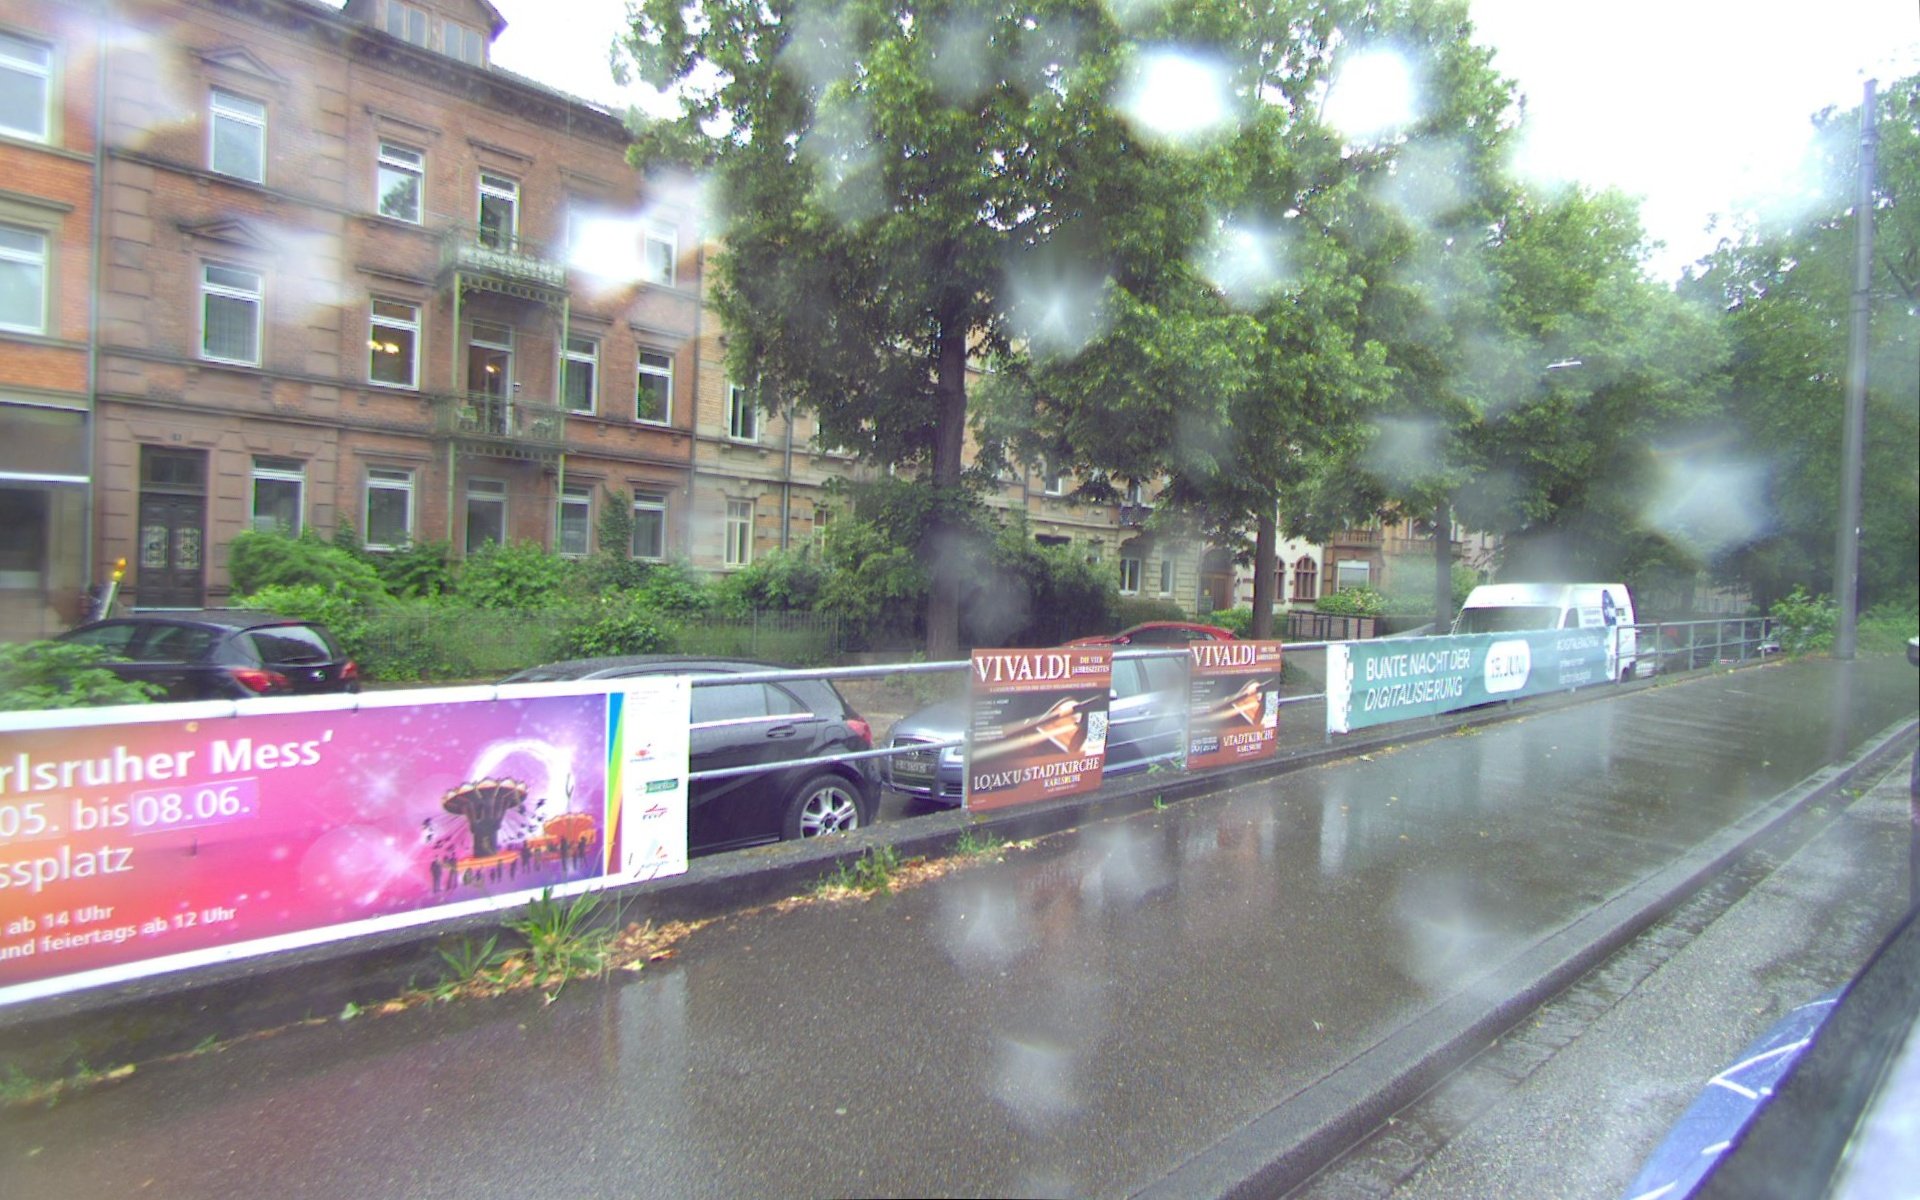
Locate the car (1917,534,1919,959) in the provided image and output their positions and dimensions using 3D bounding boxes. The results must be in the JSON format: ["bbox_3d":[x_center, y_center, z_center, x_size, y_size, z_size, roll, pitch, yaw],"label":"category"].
[{"bbox_3d":[5.745,0.586,4.488,3.612,1.687,1.755,0,1,-39],"label":"car"}]

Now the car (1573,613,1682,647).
[{"bbox_3d":[32.061,1.418,48.730,3.942,1.482,1.904,1,1,15],"label":"car"}]

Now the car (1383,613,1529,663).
[{"bbox_3d":[16.500,1.228,33.890,4.214,1.397,1.679,2,2,22],"label":"car"}]

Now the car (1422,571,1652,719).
[{"bbox_3d":[11.354,0.730,19.665,6.055,2.451,2.211,0,0,-43],"label":"car"}]

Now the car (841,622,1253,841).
[{"bbox_3d":[0.986,1.053,9.775,4.006,1.559,1.734,0,0,-43],"label":"car"}]

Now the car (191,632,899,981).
[{"bbox_3d":[-2.453,0.996,6.520,3.903,1.417,1.706,0,1,-41],"label":"car"}]

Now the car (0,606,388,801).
[{"bbox_3d":[-8.558,0.975,11.143,3.955,1.735,1.984,1,1,24],"label":"car"}]

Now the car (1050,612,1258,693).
[{"bbox_3d":[4.380,1.116,22.730,4.372,1.471,1.888,2,1,18],"label":"car"}]

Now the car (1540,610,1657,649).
[{"bbox_3d":[28.489,1.301,45.293,3.942,1.585,1.991,0,1,15],"label":"car"}]

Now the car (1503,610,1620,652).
[{"bbox_3d":[25.580,1.280,43.172,3.947,1.629,1.815,1,1,19],"label":"car"}]

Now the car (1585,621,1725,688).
[{"bbox_3d":[16.741,1.236,24.295,4.312,1.370,1.968,0,0,-44],"label":"car"}]
